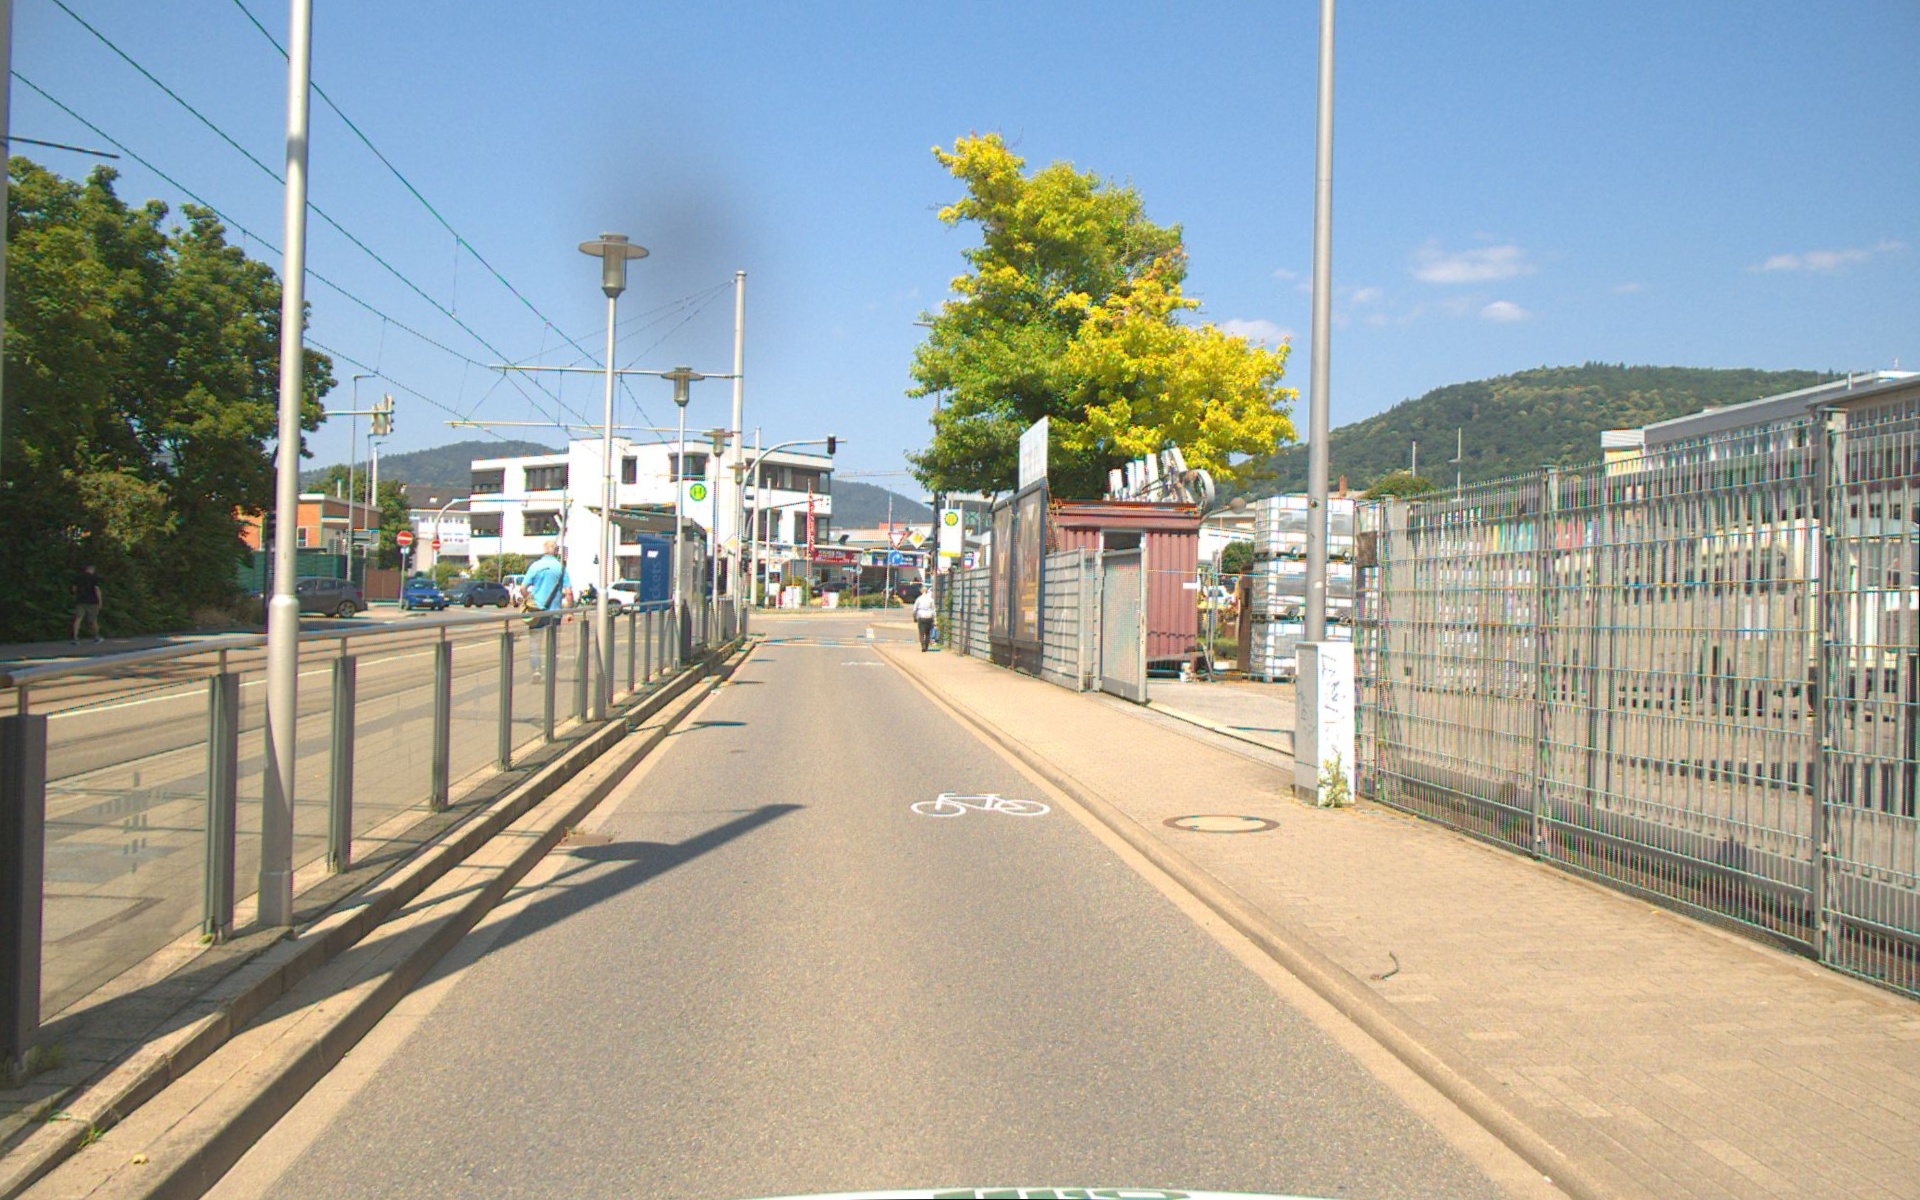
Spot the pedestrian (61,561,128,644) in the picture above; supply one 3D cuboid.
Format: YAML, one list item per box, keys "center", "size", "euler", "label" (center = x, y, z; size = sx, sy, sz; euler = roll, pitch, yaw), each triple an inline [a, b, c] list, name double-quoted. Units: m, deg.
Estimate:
- center: [-18.253, 0.043, 34.891]
  size: [0.869, 1.699, 1.159]
  euler: [0, 1, -6]
  label: "pedestrian"

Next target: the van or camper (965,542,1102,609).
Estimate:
- center: [3.097, -1.053, 70.643]
  size: [5.694, 2.822, 2.090]
  euler: [0, 1, -3]
  label: "van or camper"

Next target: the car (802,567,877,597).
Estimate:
- center: [-8.228, -1.258, 113.281]
  size: [1.931, 2.000, 5.249]
  euler: [1, 1, 42]
  label: "car"

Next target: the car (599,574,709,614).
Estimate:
- center: [-13.889, -0.295, 75.116]
  size: [4.452, 1.763, 2.002]
  euler: [1, 1, 13]
  label: "car"

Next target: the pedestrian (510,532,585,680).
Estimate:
- center: [-5.055, 0.062, 20.307]
  size: [0.710, 1.754, 0.944]
  euler: [1, 1, -5]
  label: "pedestrian"

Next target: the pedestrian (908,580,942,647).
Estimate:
- center: [-0.927, 0.340, 43.122]
  size: [0.797, 1.729, 0.886]
  euler: [0, 1, -7]
  label: "pedestrian"

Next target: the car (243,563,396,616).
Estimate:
- center: [-23.412, -0.421, 60.612]
  size: [2.062, 1.870, 4.886]
  euler: [0, 1, 39]
  label: "car"

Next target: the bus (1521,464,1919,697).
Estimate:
- center: [12.854, -0.164, 28.071]
  size: [2.515, 3.227, 10.258]
  euler: [0, -1, -4]
  label: "bus"

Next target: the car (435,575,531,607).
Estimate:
- center: [-26.338, -0.505, 91.432]
  size: [1.922, 1.694, 4.880]
  euler: [0, 1, 43]
  label: "car"

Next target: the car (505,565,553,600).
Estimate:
- center: [-26.755, -1.053, 102.627]
  size: [2.133, 2.049, 4.981]
  euler: [1, -1, -24]
  label: "car"
